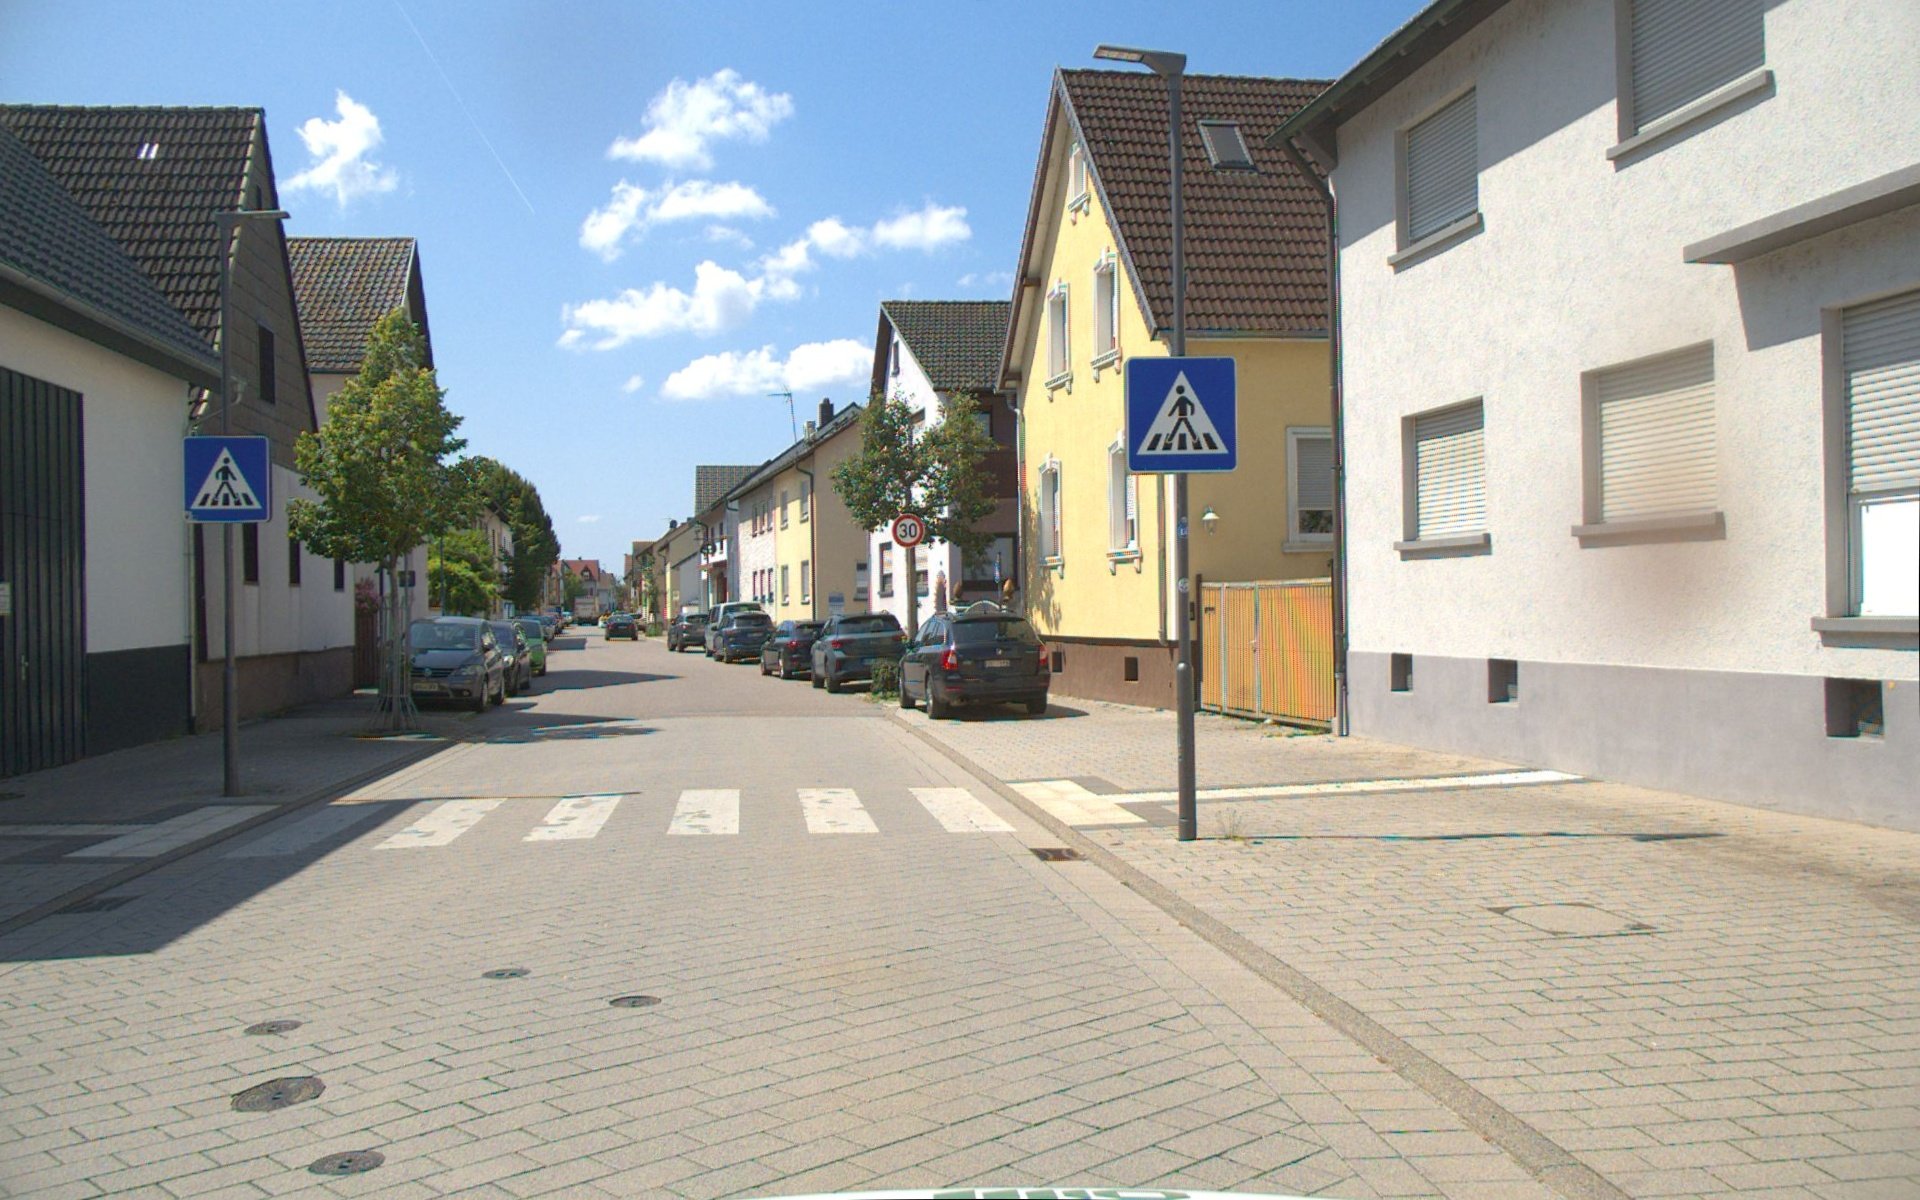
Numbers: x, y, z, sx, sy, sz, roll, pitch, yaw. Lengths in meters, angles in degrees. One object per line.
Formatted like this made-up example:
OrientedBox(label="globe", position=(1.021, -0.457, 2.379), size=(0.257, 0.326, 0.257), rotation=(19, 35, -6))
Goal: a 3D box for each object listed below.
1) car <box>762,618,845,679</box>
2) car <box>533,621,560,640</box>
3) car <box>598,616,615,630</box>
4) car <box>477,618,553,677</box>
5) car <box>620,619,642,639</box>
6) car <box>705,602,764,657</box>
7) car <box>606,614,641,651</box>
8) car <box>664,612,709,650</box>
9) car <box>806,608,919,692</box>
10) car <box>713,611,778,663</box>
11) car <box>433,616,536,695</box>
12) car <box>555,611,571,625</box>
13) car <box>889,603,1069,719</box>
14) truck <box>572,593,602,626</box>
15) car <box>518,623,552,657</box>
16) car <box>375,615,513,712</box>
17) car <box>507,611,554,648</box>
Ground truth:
OrientedBox(label="car", position=(-3.983, 1.188, 41.700), size=(1.680, 1.411, 3.695), rotation=(-1, 0, -12))
OrientedBox(label="car", position=(-33.519, 2.458, 134.142), size=(1.883, 1.467, 3.988), rotation=(-1, 0, -12))
OrientedBox(label="car", position=(-38.395, 2.468, 179.505), size=(1.659, 1.478, 3.779), rotation=(-1, 0, -14))
OrientedBox(label="car", position=(-12.195, 1.273, 45.548), size=(1.761, 1.501, 3.859), rotation=(-1, 0, -12))
OrientedBox(label="car", position=(-26.613, 2.329, 133.798), size=(1.658, 1.478, 3.782), rotation=(-1, 0, -12))
OrientedBox(label="car", position=(-8.295, 1.039, 60.626), size=(1.873, 1.904, 3.988), rotation=(-1, 0, -12))
OrientedBox(label="car", position=(-19.943, 1.887, 97.994), size=(1.959, 2.094, 4.360), rotation=(-1, 0, -12))
OrientedBox(label="car", position=(-11.469, 1.278, 69.229), size=(1.723, 1.519, 3.988), rotation=(-1, 0, -12))
OrientedBox(label="car", position=(-2.084, 0.991, 34.309), size=(1.814, 1.590, 3.683), rotation=(-1, 0, -12))
OrientedBox(label="car", position=(-7.184, 1.197, 55.144), size=(1.844, 1.619, 3.988), rotation=(-1, 0, -12))
OrientedBox(label="car", position=(-10.110, 1.129, 35.413), size=(1.719, 1.559, 4.248), rotation=(0, 0, -11))
OrientedBox(label="car", position=(-50.093, 2.264, 208.776), size=(1.815, 1.737, 3.708), rotation=(-1, 0, -12))
OrientedBox(label="car", position=(0.182, 0.866, 24.938), size=(1.797, 1.497, 4.263), rotation=(-3, 0, -12))
OrientedBox(label="truck", position=(-47.890, 1.194, 212.144), size=(3.505, 4.023, 8.548), rotation=(-1, 0, -14))
OrientedBox(label="car", position=(-23.704, 2.192, 92.388), size=(1.654, 1.789, 3.604), rotation=(-1, 0, -12))
OrientedBox(label="car", position=(-8.994, 1.063, 29.128), size=(1.715, 1.557, 3.992), rotation=(0, 0, -9))
OrientedBox(label="car", position=(-20.682, 1.389, 79.760), size=(1.959, 1.691, 3.988), rotation=(-1, 0, -12))
